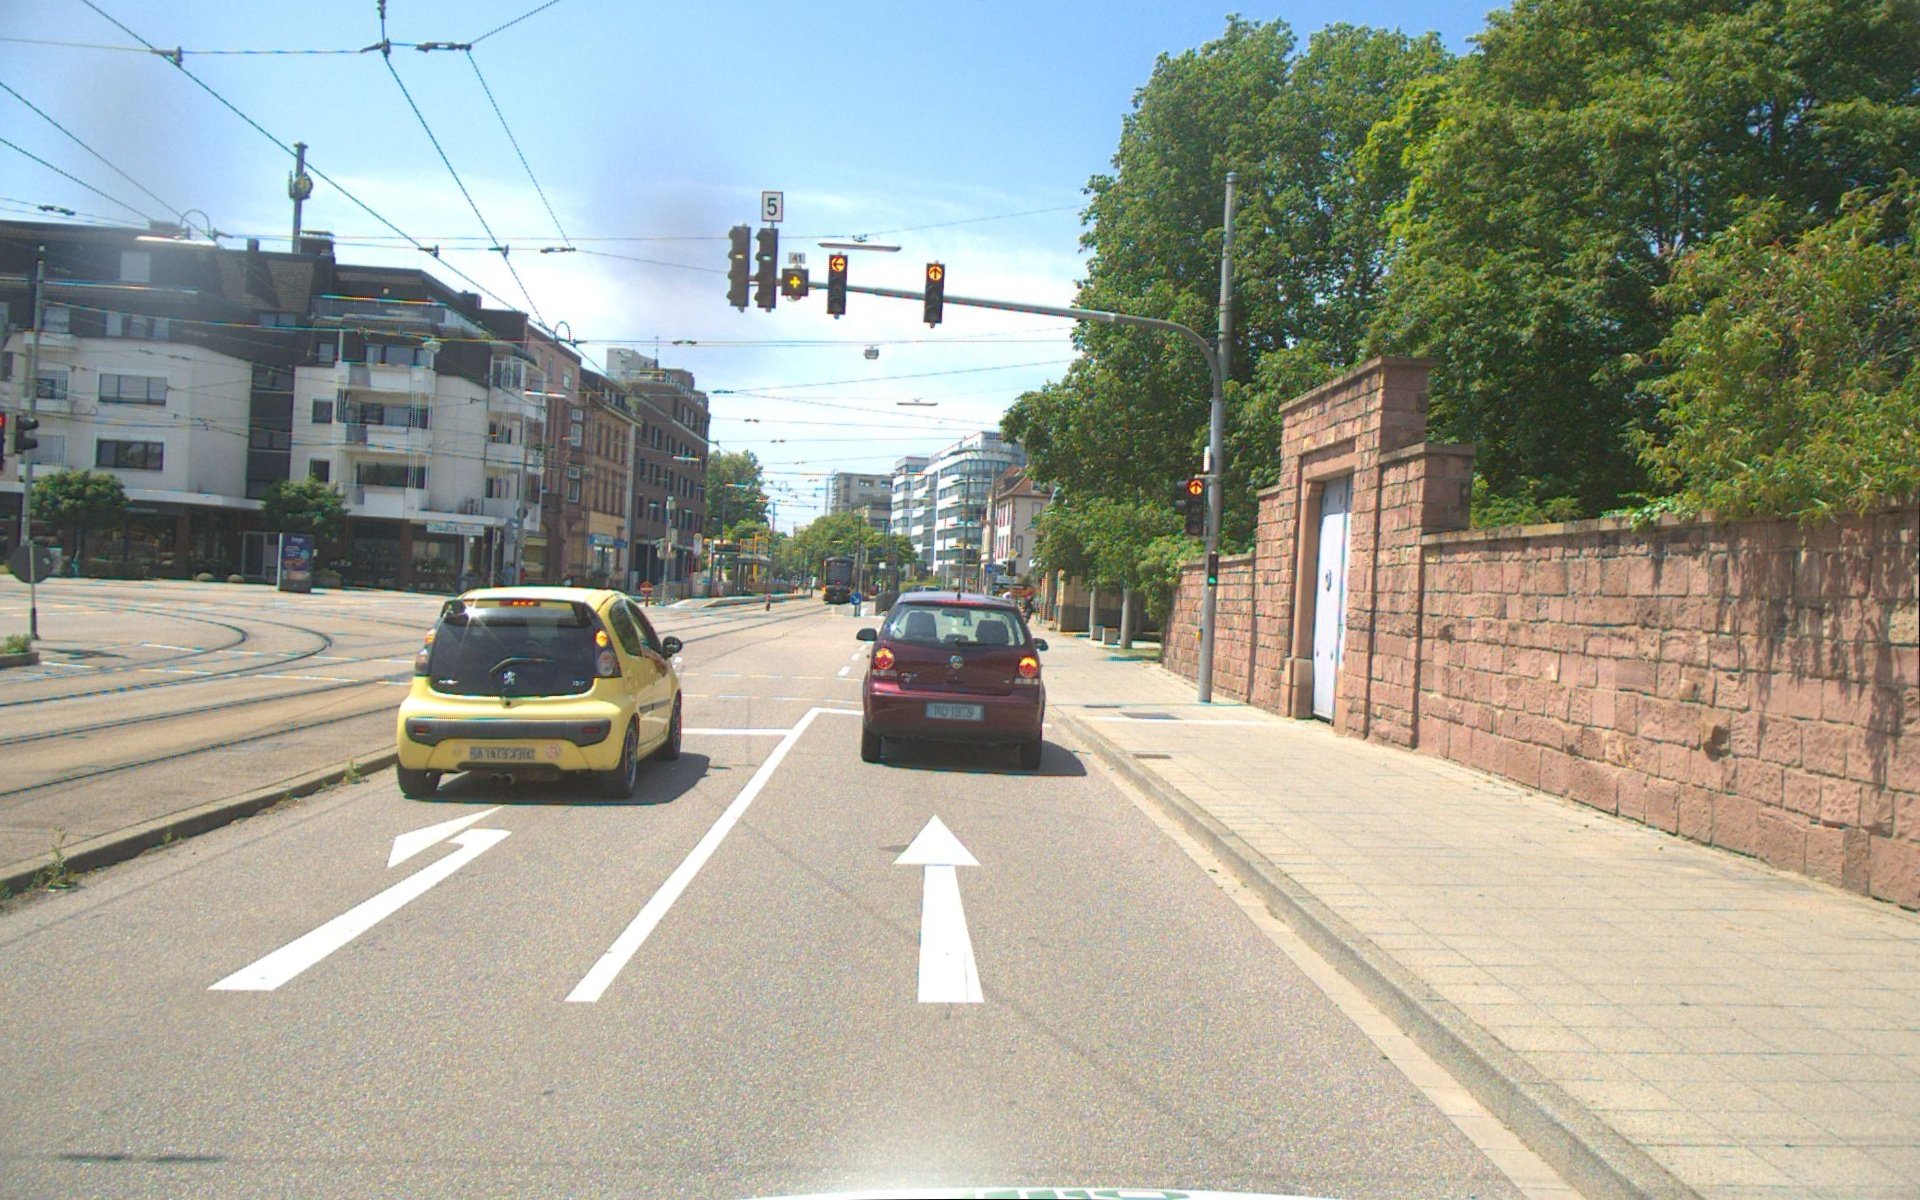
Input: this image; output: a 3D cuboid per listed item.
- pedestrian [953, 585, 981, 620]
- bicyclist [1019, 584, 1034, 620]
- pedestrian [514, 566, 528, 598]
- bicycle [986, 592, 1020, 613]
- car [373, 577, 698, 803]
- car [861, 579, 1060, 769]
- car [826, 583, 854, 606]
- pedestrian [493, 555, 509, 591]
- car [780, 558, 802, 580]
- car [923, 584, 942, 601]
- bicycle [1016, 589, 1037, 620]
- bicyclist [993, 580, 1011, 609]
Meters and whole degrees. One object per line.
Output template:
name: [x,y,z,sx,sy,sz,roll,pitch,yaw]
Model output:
pedestrian: [0.338,0.121,82.196,0.978,1.690,0.904,2,0,-45]
bicyclist: [3.417,0.105,85.200,0.707,1.850,0.888,1,-1,-1]
pedestrian: [-21.892,-0.909,82.540,0.473,1.568,0.538,1,-1,8]
bicycle: [2.163,0.141,82.988,0.569,1.025,1.859,1,-1,43]
car: [-3.075,0.576,12.618,1.688,1.470,3.292,1,1,-2]
car: [-0.055,0.597,15.695,1.577,1.489,4.084,3,0,-2]
car: [-9.016,-0.390,124.409,1.899,1.670,3.999,1,0,-2]
pedestrian: [-23.039,-1.362,83.006,0.497,1.785,0.606,1,-1,45]
car: [-16.527,-3.008,161.599,1.700,2.048,3.999,2,0,-1]
car: [-2.349,-0.637,138.898,1.541,1.440,3.719,0,0,-2]
bicycle: [3.392,0.248,84.711,0.818,1.552,3.999,1,0,-1]
bicyclist: [2.092,-0.261,82.905,0.498,1.430,0.763,1,-1,43]
